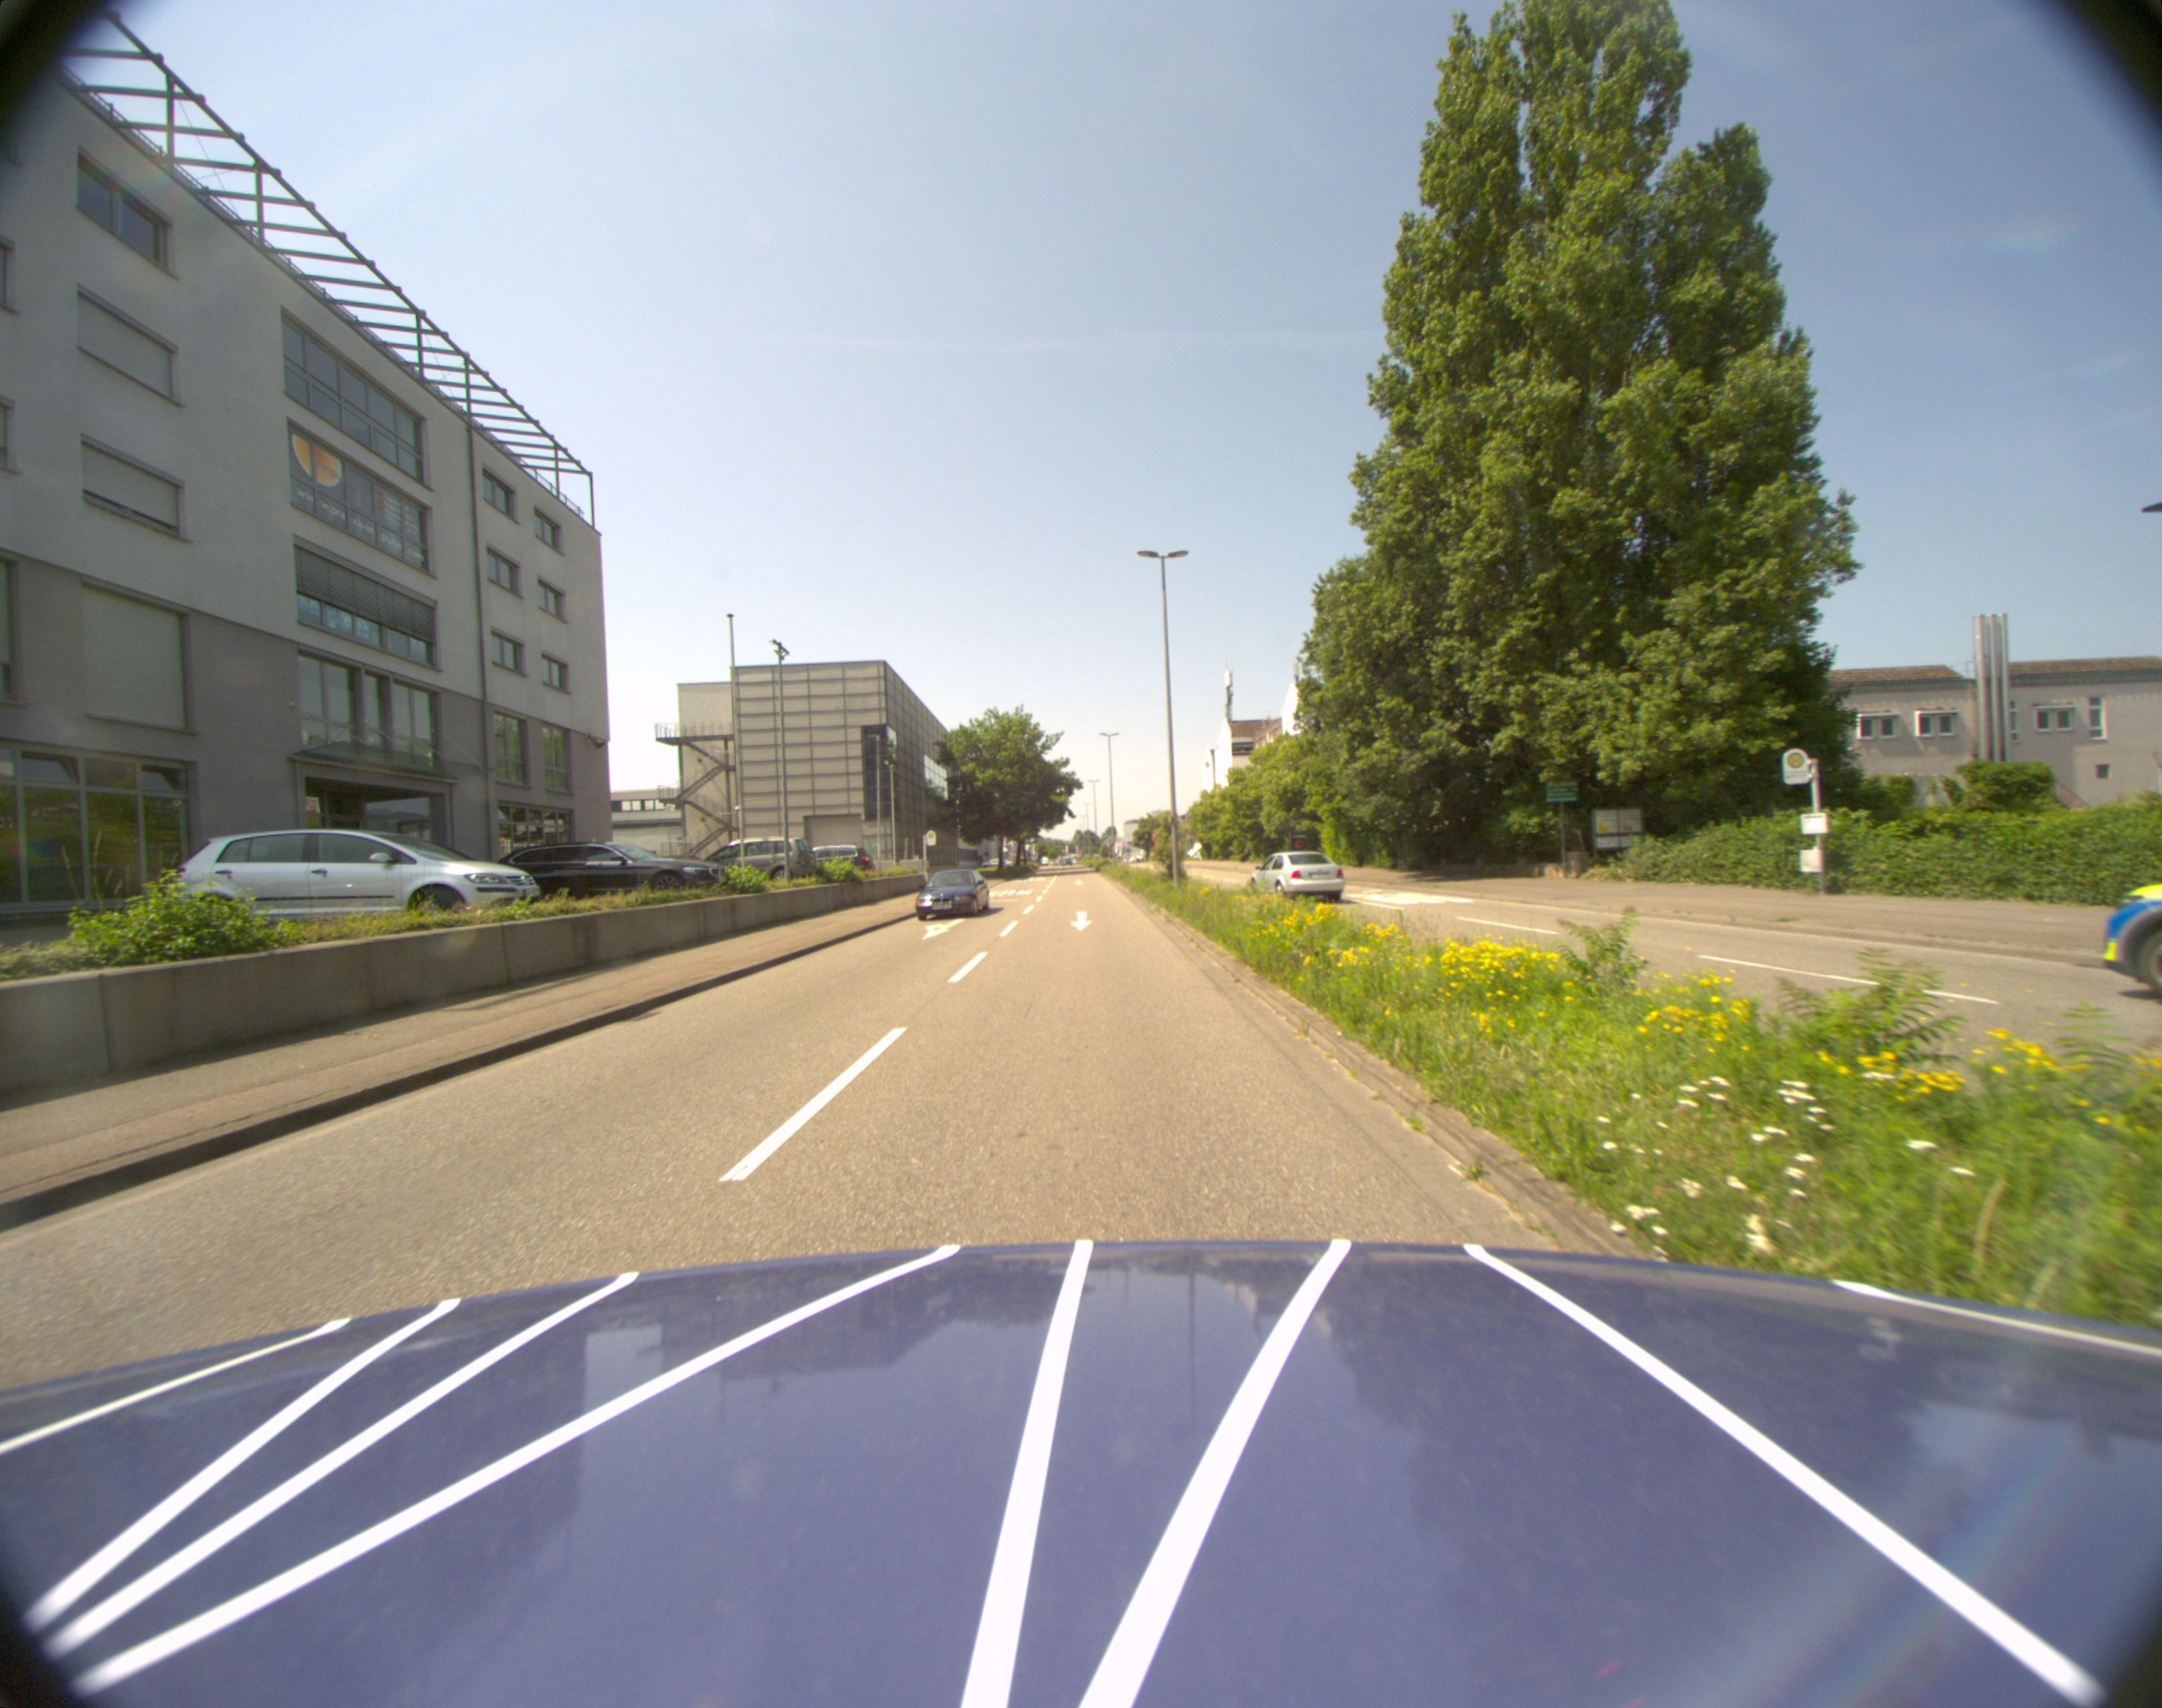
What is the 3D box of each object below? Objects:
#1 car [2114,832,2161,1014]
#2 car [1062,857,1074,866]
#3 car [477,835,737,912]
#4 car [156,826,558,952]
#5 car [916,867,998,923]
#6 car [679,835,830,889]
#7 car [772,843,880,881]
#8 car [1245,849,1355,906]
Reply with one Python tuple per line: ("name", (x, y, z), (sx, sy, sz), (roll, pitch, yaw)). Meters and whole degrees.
("car", (10.241, 0.587, 4.658), (1.899, 1.551, 4.285), (-1, 1, -4))
("car", (-2.241, 1.219, 130.137), (1.867, 1.390, 4.000), (-1, 0, 1))
("car", (-10.897, 0.412, 17.761), (4.761, 1.373, 1.798), (-4, 1, -5))
("car", (-10.694, 0.456, 11.592), (4.001, 1.477, 1.756), (-4, 1, -14))
("car", (-3.604, 1.147, 22.681), (1.711, 1.316, 3.955), (-4, 1, 0))
("car", (-10.728, 0.249, 25.203), (4.137, 1.477, 1.758), (-4, 1, -1))
("car", (-11.230, 0.325, 33.685), (4.137, 1.477, 1.758), (-2, 1, -1))
("car", (6.277, 0.609, 22.271), (1.764, 1.410, 4.089), (-2, 1, -4))
